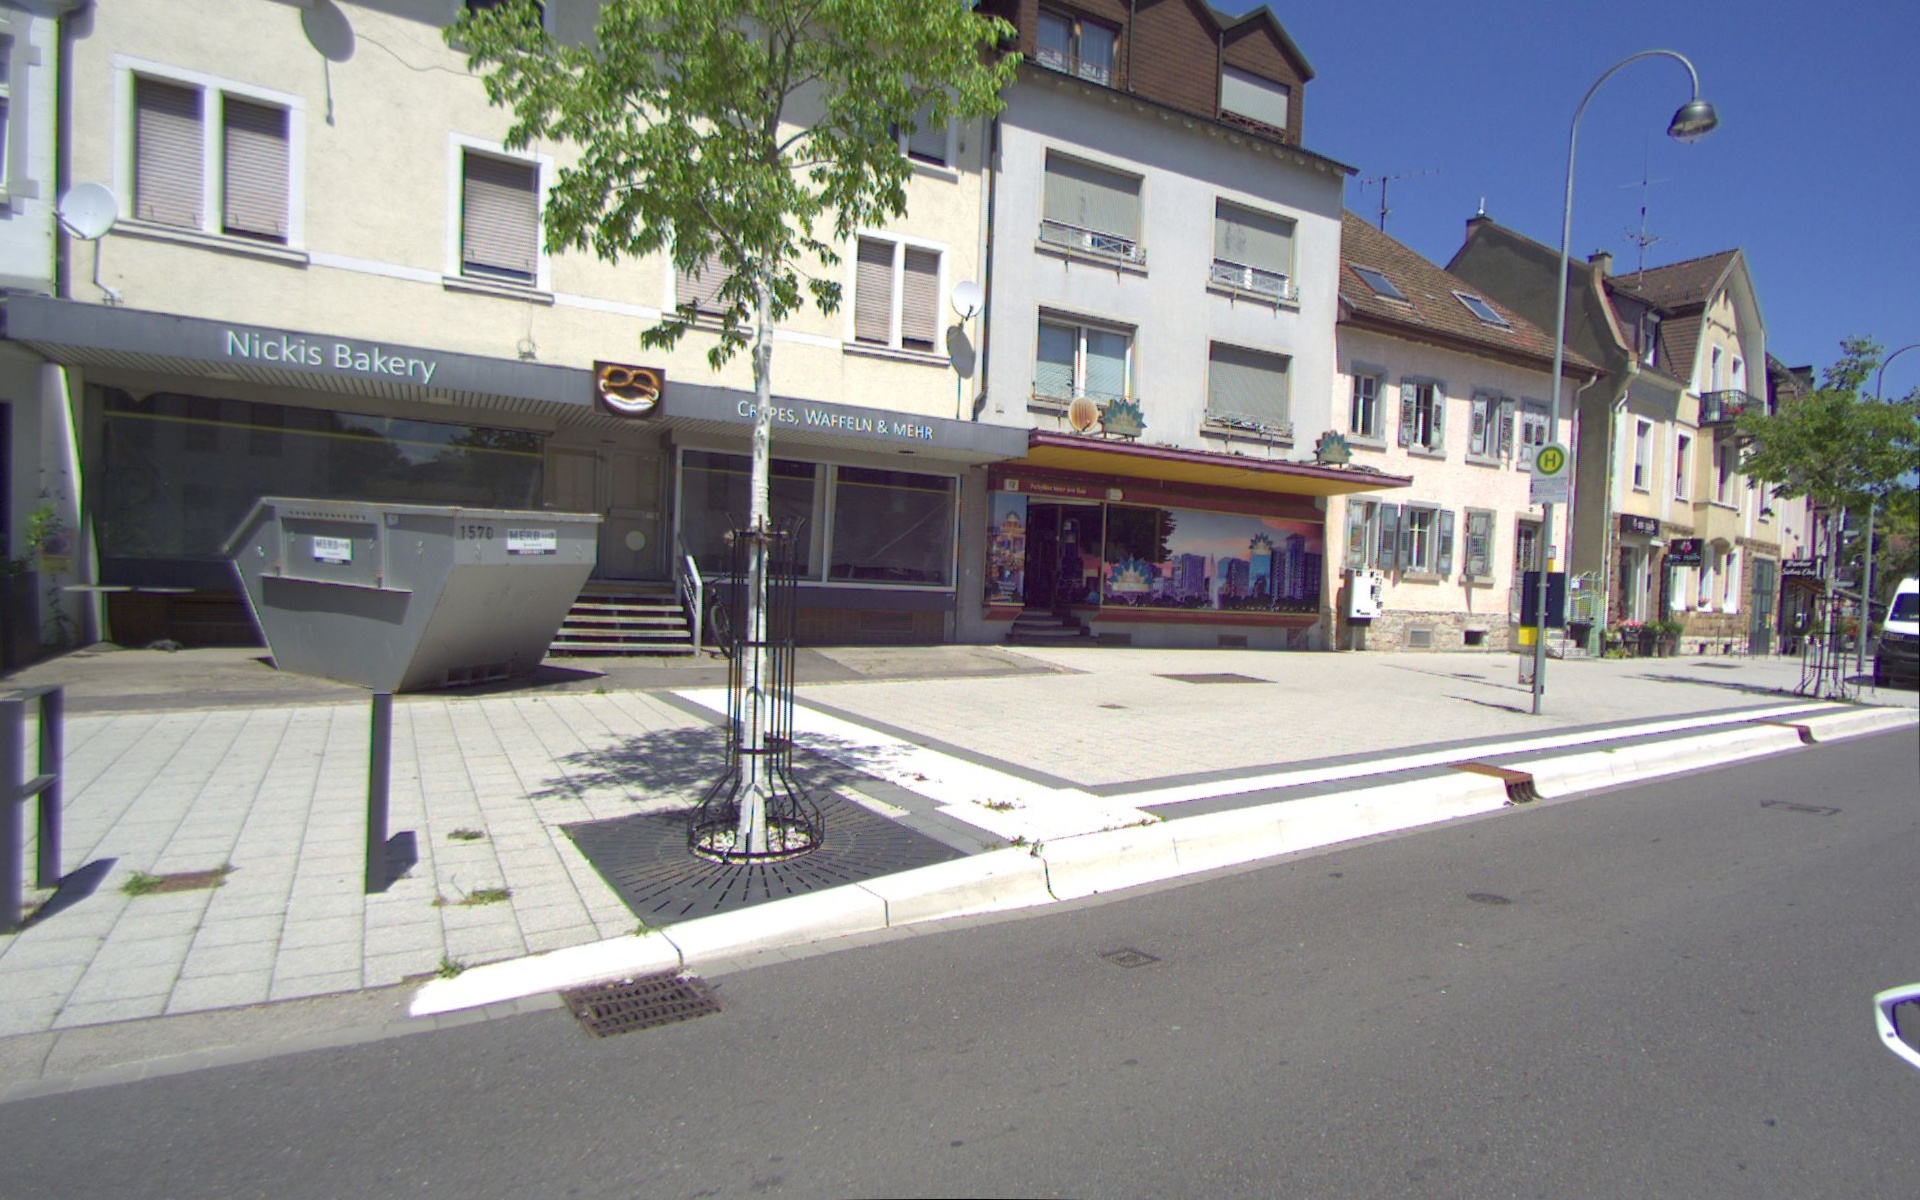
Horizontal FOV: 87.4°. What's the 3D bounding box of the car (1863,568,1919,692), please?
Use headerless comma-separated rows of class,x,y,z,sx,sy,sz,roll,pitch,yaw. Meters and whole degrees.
car,22.064,0.711,22.501,5.463,2.531,2.072,2,3,-43

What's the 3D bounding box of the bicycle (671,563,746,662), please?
bicycle,-3.610,0.154,14.324,0.608,1.251,1.758,2,4,-27

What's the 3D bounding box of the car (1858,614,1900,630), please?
car,103.875,2.468,113.618,1.819,1.609,4.002,1,0,15
